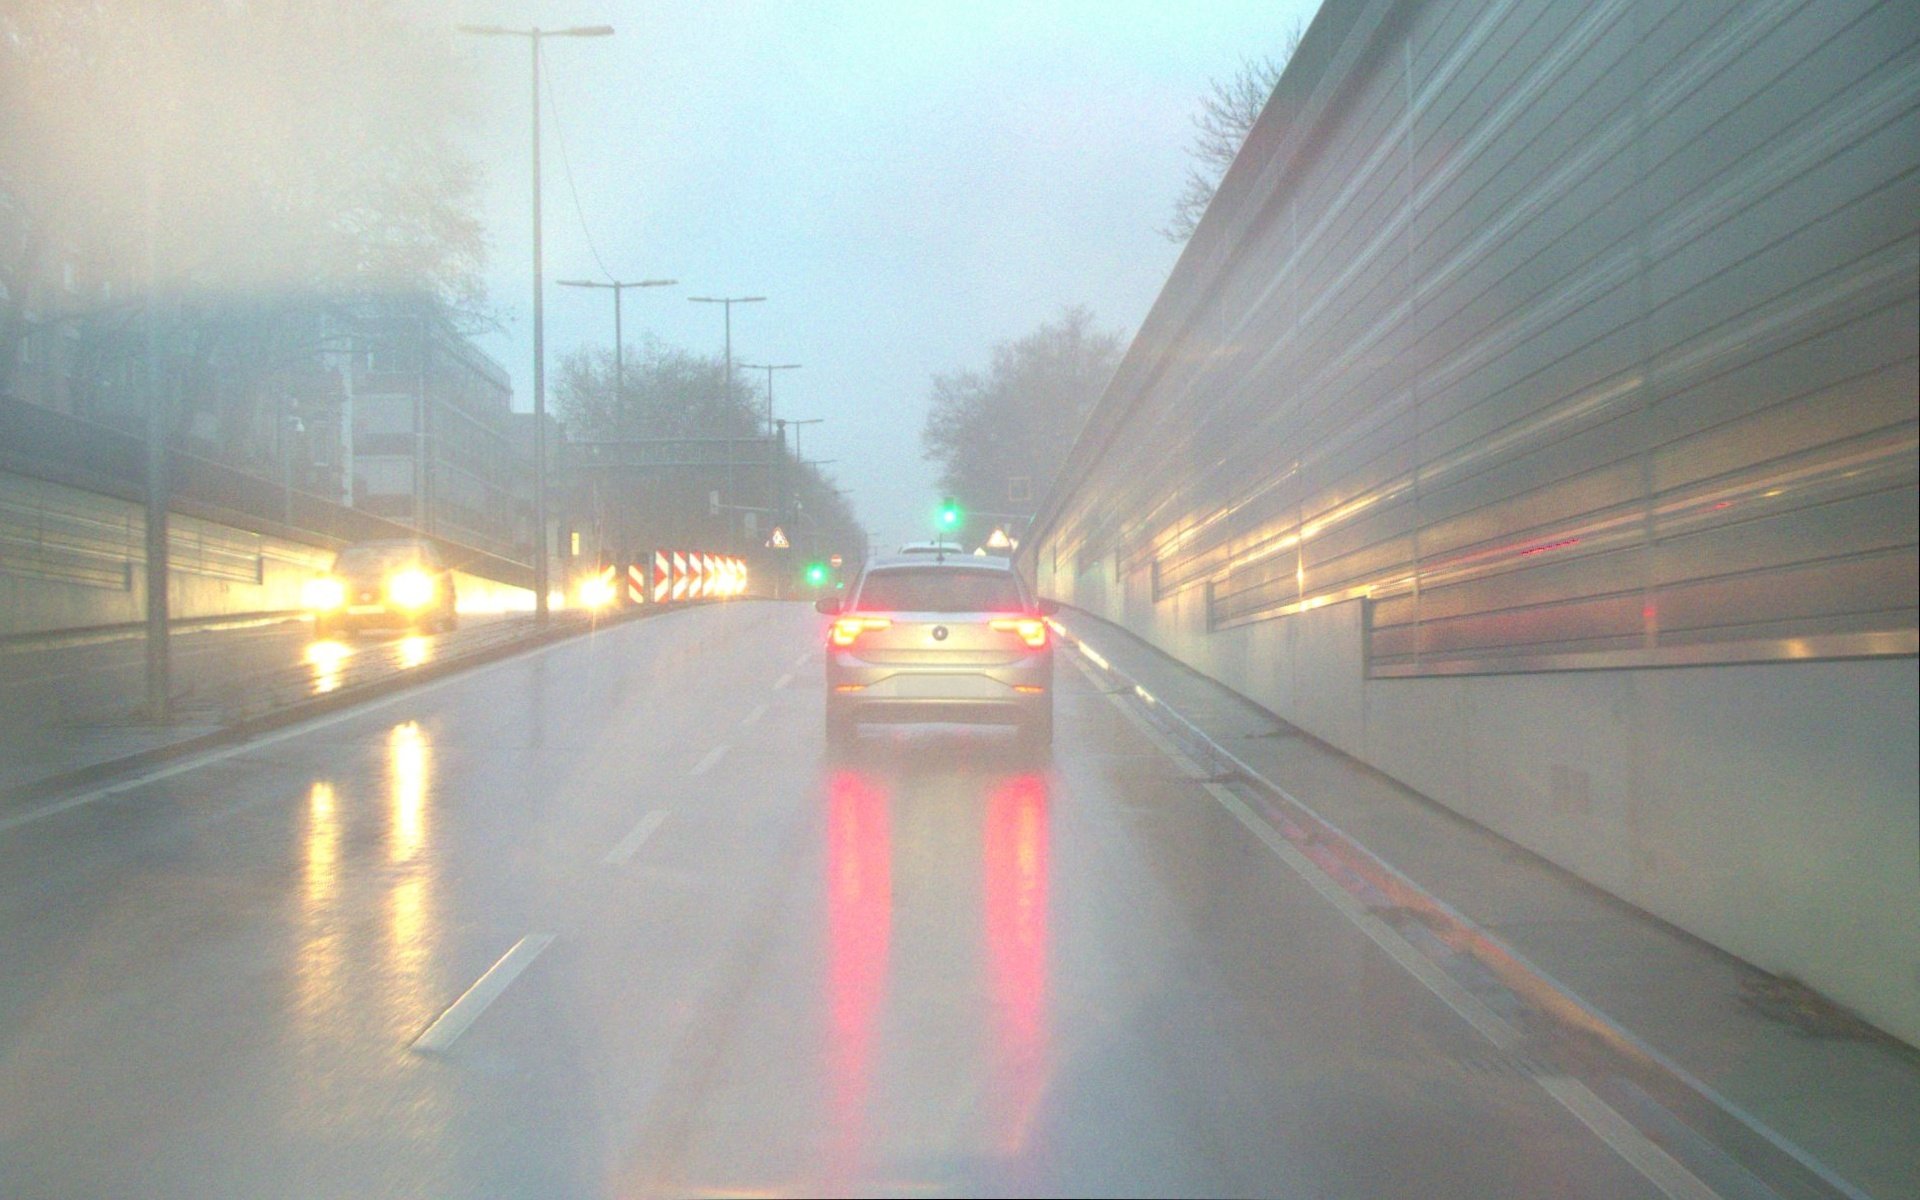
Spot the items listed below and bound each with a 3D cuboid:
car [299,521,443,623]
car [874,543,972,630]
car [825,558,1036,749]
[{"bbox_3d":[-8.871,-0.451,51.989,1.571,1.466,3.687,-1,1,-1],"label":"car"},{"bbox_3d":[-0.790,-0.251,71.095,1.880,1.615,4.000,1,-2,-2],"label":"car"},{"bbox_3d":[-0.229,0.417,26.940,1.532,1.392,3.434,0,-1,0],"label":"car"}]
